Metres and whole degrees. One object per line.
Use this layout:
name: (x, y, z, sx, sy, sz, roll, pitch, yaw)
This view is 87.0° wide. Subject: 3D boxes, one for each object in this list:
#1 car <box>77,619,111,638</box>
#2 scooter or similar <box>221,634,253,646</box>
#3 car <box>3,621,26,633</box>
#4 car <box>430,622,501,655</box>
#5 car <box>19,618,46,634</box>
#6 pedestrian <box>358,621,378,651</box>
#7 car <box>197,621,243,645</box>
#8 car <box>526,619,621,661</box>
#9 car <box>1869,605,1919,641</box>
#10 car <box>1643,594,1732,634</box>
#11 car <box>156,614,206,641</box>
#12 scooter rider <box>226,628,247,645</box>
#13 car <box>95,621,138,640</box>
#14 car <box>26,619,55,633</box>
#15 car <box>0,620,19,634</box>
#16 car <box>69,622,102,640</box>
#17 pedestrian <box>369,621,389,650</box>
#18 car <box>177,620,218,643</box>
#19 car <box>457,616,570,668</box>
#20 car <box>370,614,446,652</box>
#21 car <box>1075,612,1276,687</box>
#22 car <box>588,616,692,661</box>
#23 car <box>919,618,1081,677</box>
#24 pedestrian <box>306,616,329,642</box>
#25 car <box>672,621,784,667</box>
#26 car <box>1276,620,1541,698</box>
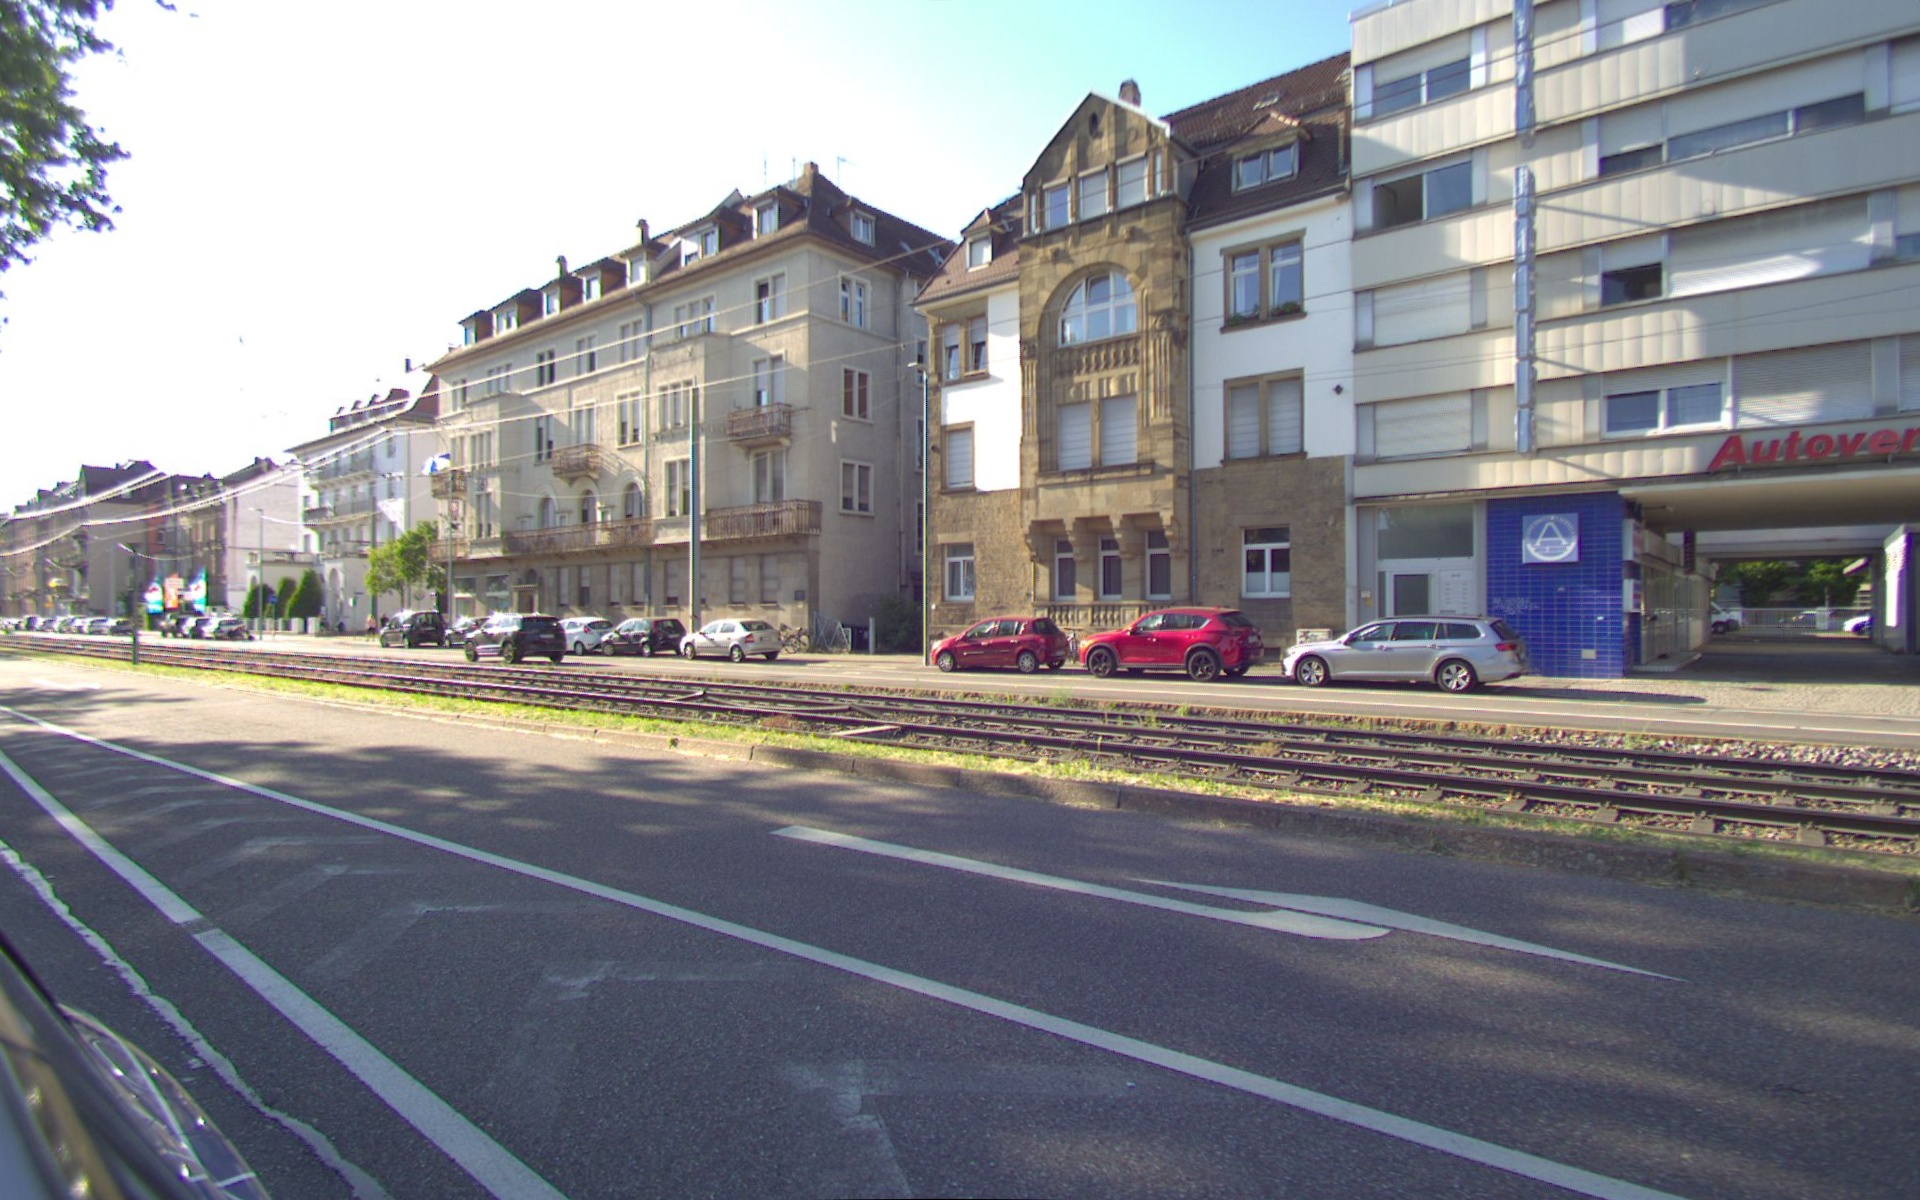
car: (-83.618, 2.717, 97.720, 4.841, 1.707, 1.900, -1, 0, 42)
scooter or similar: (-47.745, 2.630, 66.843, 1.542, 0.776, 0.810, 1, -2, -19)
car: (-115.857, 3.300, 123.991, 3.977, 1.456, 1.643, -1, 0, 40)
car: (-23.382, 1.781, 47.846, 3.504, 1.401, 1.612, -1, 2, 39)
car: (-111.266, 3.137, 121.431, 4.722, 1.821, 1.644, -1, 0, 38)
pedestrian: (-35.593, 2.163, 60.841, 0.846, 1.709, 0.591, -1, 1, 1)
car: (-52.514, 2.317, 71.829, 3.998, 1.521, 1.776, 0, 1, 41)
car: (-15.639, 1.592, 40.869, 3.976, 1.479, 1.621, -1, 4, 37)
car: (41.987, 0.989, 43.739, 3.998, 1.521, 1.775, 0, 1, 41)
car: (44.138, 0.846, 61.455, 4.337, 2.309, 1.841, 0, 1, 39)
car: (-61.256, 2.131, 79.562, 5.590, 2.025, 2.055, -1, 1, 42)
scooter rider: (-47.783, 2.428, 66.833, 0.962, 1.097, 0.810, 1, -2, -19)
car: (-76.476, 2.763, 91.730, 4.835, 1.471, 1.903, -1, 4, 38)
car: (-107.226, 3.024, 118.063, 4.623, 1.550, 1.901, -1, 0, 40)
car: (-122.860, 3.463, 130.408, 3.995, 1.821, 1.777, -1, 0, 38)
car: (-87.860, 3.089, 101.671, 4.842, 1.572, 1.900, 0, 4, 43)
pedestrian: (-35.327, 2.144, 61.534, 0.846, 1.709, 0.591, -1, 1, 1)
car: (-56.727, 2.312, 75.236, 4.158, 1.518, 1.618, 0, 1, 42)
car: (-14.737, 1.370, 33.313, 4.153, 1.614, 1.619, -1, -2, 38)
car: (-28.064, 1.681, 51.401, 4.396, 1.800, 1.844, -2, 0, 39)
car: (5.049, 1.102, 24.077, 4.350, 1.570, 1.814, -1, 1, 41)
car: (-12.200, 1.429, 38.476, 4.153, 1.479, 1.620, -1, 4, 38)
car: (1.054, 1.237, 27.460, 4.026, 1.401, 1.818, -1, 2, 35)
pedestrian: (-44.838, 2.017, 70.611, 0.930, 1.791, 0.986, 0, 1, 25)
car: (-8.058, 1.487, 35.004, 4.156, 1.480, 1.618, -2, -1, 40)
car: (9.096, 1.122, 20.760, 4.677, 1.401, 1.815, -1, 0, 39)
